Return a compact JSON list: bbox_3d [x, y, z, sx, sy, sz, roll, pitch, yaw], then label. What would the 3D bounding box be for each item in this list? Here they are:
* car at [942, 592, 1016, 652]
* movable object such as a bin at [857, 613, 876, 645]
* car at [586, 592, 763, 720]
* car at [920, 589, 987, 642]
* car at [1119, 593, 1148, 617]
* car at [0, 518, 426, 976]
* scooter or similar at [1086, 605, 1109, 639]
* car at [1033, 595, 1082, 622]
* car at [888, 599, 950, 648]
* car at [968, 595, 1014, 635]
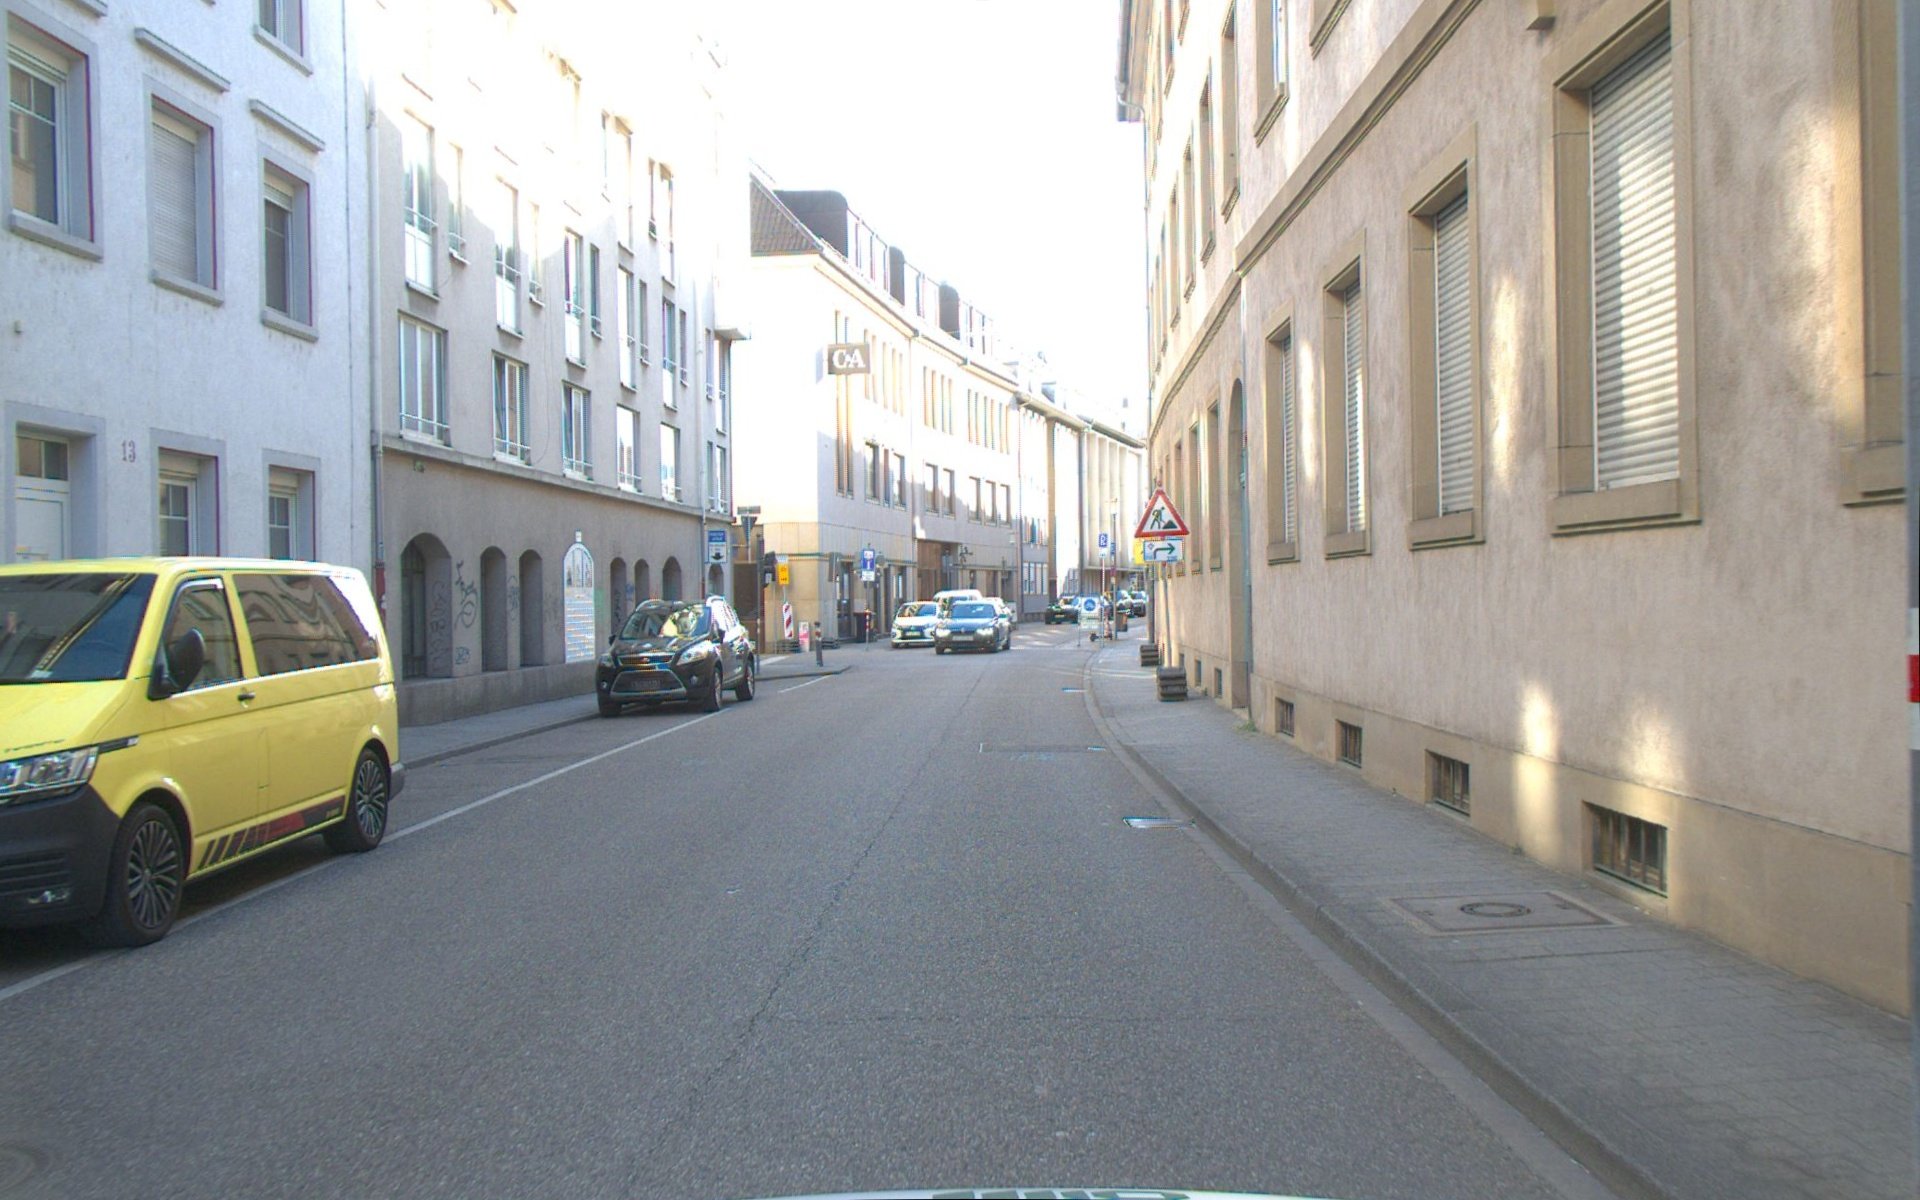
[{"bbox_3d":[0.501,0.616,47.203,1.681,1.605,4.186,-1,0,-5],"label":"car"},{"bbox_3d":[-3.268,1.003,57.805,0.596,1.079,0.713,2,0,2],"label":"movable object such as a bin"},{"bbox_3d":[-4.357,0.797,25.912,1.703,1.740,4.192,-3,0,4],"label":"car"},{"bbox_3d":[-0.188,0.551,62.269,1.635,1.850,4.556,-2,0,10],"label":"car"},{"bbox_3d":[11.338,0.292,107.946,1.310,1.520,3.513,-1,0,15],"label":"car"},{"bbox_3d":[-4.764,0.662,9.317,1.842,1.899,4.863,-3,0,0],"label":"car"},{"bbox_3d":[4.785,0.760,57.359,0.754,1.156,0.269,2,0,8],"label":"scooter or similar"},{"bbox_3d":[5.268,0.435,88.660,1.841,1.355,4.103,-1,0,15],"label":"car"},{"bbox_3d":[-1.366,0.773,56.481,1.635,1.533,3.796,-2,0,6],"label":"car"},{"bbox_3d":[1.290,0.601,68.352,1.244,1.533,3.405,-2,0,11],"label":"car"}]
